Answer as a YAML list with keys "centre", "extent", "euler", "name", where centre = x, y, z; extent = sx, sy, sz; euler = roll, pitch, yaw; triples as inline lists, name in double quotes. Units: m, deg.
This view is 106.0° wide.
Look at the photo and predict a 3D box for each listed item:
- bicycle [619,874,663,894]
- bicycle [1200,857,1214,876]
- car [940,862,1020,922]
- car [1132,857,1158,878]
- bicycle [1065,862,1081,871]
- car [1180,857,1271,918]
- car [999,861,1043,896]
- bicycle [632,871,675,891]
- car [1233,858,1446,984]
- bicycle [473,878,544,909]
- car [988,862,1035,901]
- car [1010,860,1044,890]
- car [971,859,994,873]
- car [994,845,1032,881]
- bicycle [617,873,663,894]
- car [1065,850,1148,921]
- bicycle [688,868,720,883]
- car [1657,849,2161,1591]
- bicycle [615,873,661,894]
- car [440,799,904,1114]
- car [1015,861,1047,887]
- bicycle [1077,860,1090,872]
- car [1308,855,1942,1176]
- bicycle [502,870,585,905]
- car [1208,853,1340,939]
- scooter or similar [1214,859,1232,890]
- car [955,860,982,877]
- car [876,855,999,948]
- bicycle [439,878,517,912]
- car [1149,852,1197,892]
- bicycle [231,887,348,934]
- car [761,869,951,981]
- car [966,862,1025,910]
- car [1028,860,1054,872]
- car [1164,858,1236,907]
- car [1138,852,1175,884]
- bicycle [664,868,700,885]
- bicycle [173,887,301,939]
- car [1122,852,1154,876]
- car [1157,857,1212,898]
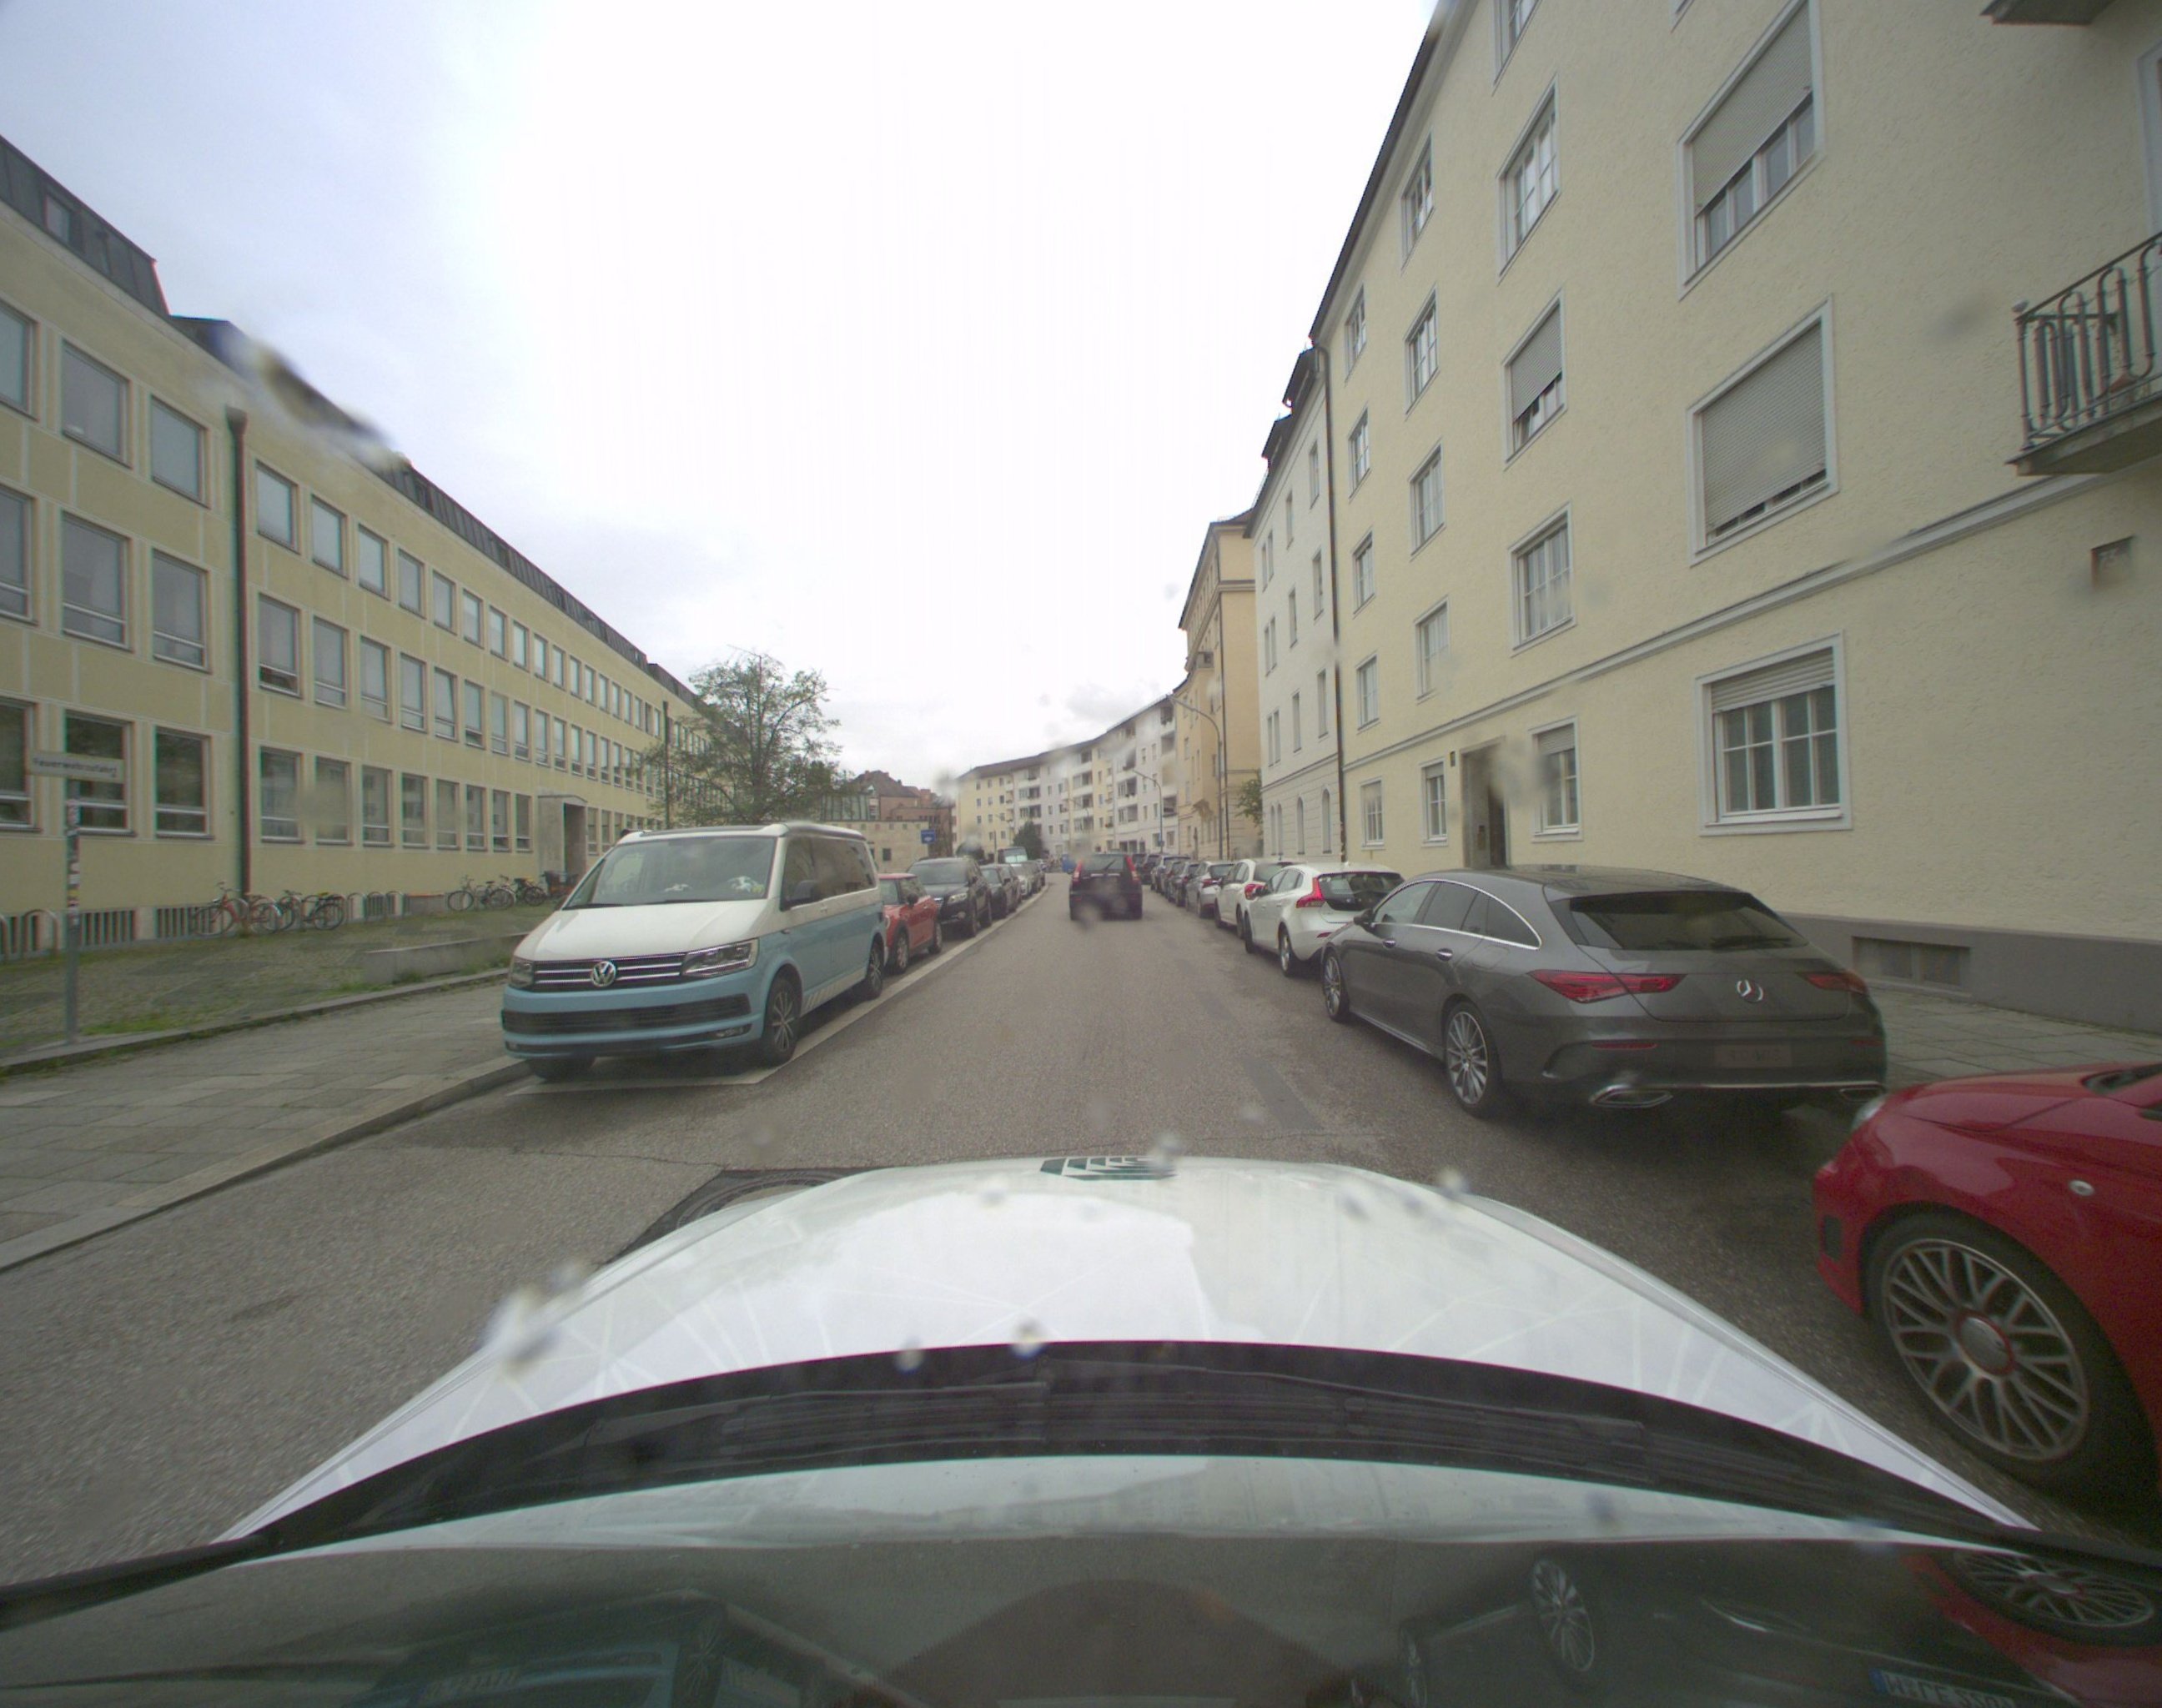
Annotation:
- centre: [-23.551, 1.608, 43.584]
  extent: [1.948, 1.014, 0.623]
  euler: [-1, 0, -13]
  name: "bicycle"
- centre: [7.974, 0.781, 51.521]
  extent: [0.577, 1.083, 1.954]
  euler: [-4, 0, 2]
  name: "bicycle"
- centre: [-2.801, 1.027, 23.297]
  extent: [1.674, 1.453, 3.870]
  euler: [-3, 0, 1]
  name: "car"
- centre: [4.598, 0.955, 58.918]
  extent: [1.701, 1.447, 3.832]
  euler: [0, -1, 3]
  name: "car"
- centre: [-1.025, 1.605, 103.485]
  extent: [1.872, 1.091, 0.561]
  euler: [-1, -1, -21]
  name: "bicycle"
- centre: [3.756, 0.838, 21.844]
  extent: [1.673, 1.427, 4.166]
  euler: [-1, -1, 0]
  name: "car"
- centre: [-2.841, 1.127, 39.282]
  extent: [1.749, 1.453, 4.395]
  euler: [-3, 0, 0]
  name: "car"
- centre: [-23.643, 1.493, 45.067]
  extent: [1.948, 1.014, 0.623]
  euler: [-1, 0, -13]
  name: "bicycle"
- centre: [3.399, 0.793, 11.631]
  extent: [1.673, 1.410, 4.443]
  euler: [-1, -1, 1]
  name: "car"
- centre: [-20.482, 1.412, 29.162]
  extent: [1.950, 1.014, 0.622]
  euler: [-1, 0, -16]
  name: "bicycle"
- centre: [-2.867, 1.109, 34.212]
  extent: [1.652, 1.453, 4.070]
  euler: [-3, 0, -1]
  name: "car"
- centre: [-2.892, 1.113, 44.344]
  extent: [1.652, 1.453, 3.310]
  euler: [-3, 0, -2]
  name: "car"
- centre: [-14.245, 1.728, 117.550]
  extent: [1.736, 1.878, 3.959]
  euler: [0, -1, -32]
  name: "car"
- centre: [-5.503, 0.702, 65.386]
  extent: [2.166, 2.641, 5.991]
  euler: [-3, 0, -12]
  name: "car"
- centre: [-22.978, 1.541, 42.455]
  extent: [1.948, 1.014, 0.623]
  euler: [-1, 0, -13]
  name: "bicycle"
- centre: [0.568, 0.770, 21.313]
  extent: [1.886, 1.647, 3.988]
  euler: [-1, -1, -2]
  name: "car"
- centre: [-27.297, 1.568, 59.008]
  extent: [1.946, 1.014, 0.623]
  euler: [-1, 0, -10]
  name: "bicycle"
- centre: [3.025, 0.736, 1.192]
  extent: [1.673, 1.497, 3.824]
  euler: [-1, -1, 1]
  name: "car"
- centre: [-22.674, 1.503, 41.683]
  extent: [1.946, 1.014, 0.623]
  euler: [-1, 0, -10]
  name: "bicycle"
- centre: [-3.238, 0.692, 7.878]
  extent: [1.923, 1.979, 5.020]
  euler: [-3, -1, -1]
  name: "car"
- centre: [-3.007, 1.156, 49.176]
  extent: [1.795, 1.406, 4.450]
  euler: [-3, 0, -3]
  name: "car"
- centre: [0.272, 1.359, 95.764]
  extent: [0.970, 1.388, 2.551]
  euler: [-1, -1, -14]
  name: "bicycle"
- centre: [3.075, 0.749, 5.901]
  extent: [1.673, 1.410, 4.422]
  euler: [-1, -1, 1]
  name: "car"
- centre: [-20.914, 1.287, 31.744]
  extent: [2.439, 1.248, 1.051]
  euler: [-1, 0, -16]
  name: "bicycle"
- centre: [3.749, 0.765, 16.544]
  extent: [1.673, 1.481, 4.166]
  euler: [-1, -1, 0]
  name: "car"
- centre: [5.406, 0.770, 31.055]
  extent: [0.483, 1.164, 1.172]
  euler: [-1, -1, -1]
  name: "scooter or similar"
- centre: [-12.133, 1.566, 87.571]
  extent: [1.687, 1.707, 4.475]
  euler: [-1, -1, -25]
  name: "car"
- centre: [-3.026, 0.931, 18.089]
  extent: [1.738, 1.666, 4.449]
  euler: [-5, 0, 1]
  name: "car"
- centre: [-19.860, 1.349, 26.864]
  extent: [1.950, 1.014, 0.622]
  euler: [-1, 0, -16]
  name: "bicycle"
- centre: [4.096, 0.788, 36.799]
  extent: [1.716, 1.634, 4.458]
  euler: [-1, -1, 1]
  name: "car"
- centre: [-18.671, 1.320, 19.243]
  extent: [1.946, 1.014, 0.623]
  euler: [-1, 0, -9]
  name: "bicycle"
- centre: [-3.269, 0.970, 12.657]
  extent: [1.737, 1.387, 3.919]
  euler: [-1, 0, 2]
  name: "car"
- centre: [-2.932, 1.059, 28.570]
  extent: [1.652, 1.453, 3.972]
  euler: [-3, 0, -1]
  name: "car"
- centre: [-4.945, 1.454, 100.643]
  extent: [1.733, 1.483, 3.965]
  euler: [0, 0, -26]
  name: "car"
- centre: [3.770, 0.874, 26.426]
  extent: [1.673, 1.427, 4.390]
  euler: [-1, -1, 0]
  name: "car"
- centre: [4.270, 0.776, 46.768]
  extent: [1.862, 1.717, 4.867]
  euler: [0, -1, 2]
  name: "car"
- centre: [-25.837, 1.449, 52.763]
  extent: [1.944, 1.014, 0.624]
  euler: [-1, 0, -6]
  name: "bicycle"
- centre: [-18.441, 1.278, 17.829]
  extent: [1.946, 1.014, 0.623]
  euler: [-1, 0, -9]
  name: "bicycle"
- centre: [4.422, 0.774, 63.710]
  extent: [1.776, 1.807, 4.266]
  euler: [0, -1, -7]
  name: "car"
- centre: [3.977, 0.873, 31.767]
  extent: [1.673, 1.427, 4.087]
  euler: [-1, -1, 1]
  name: "car"
